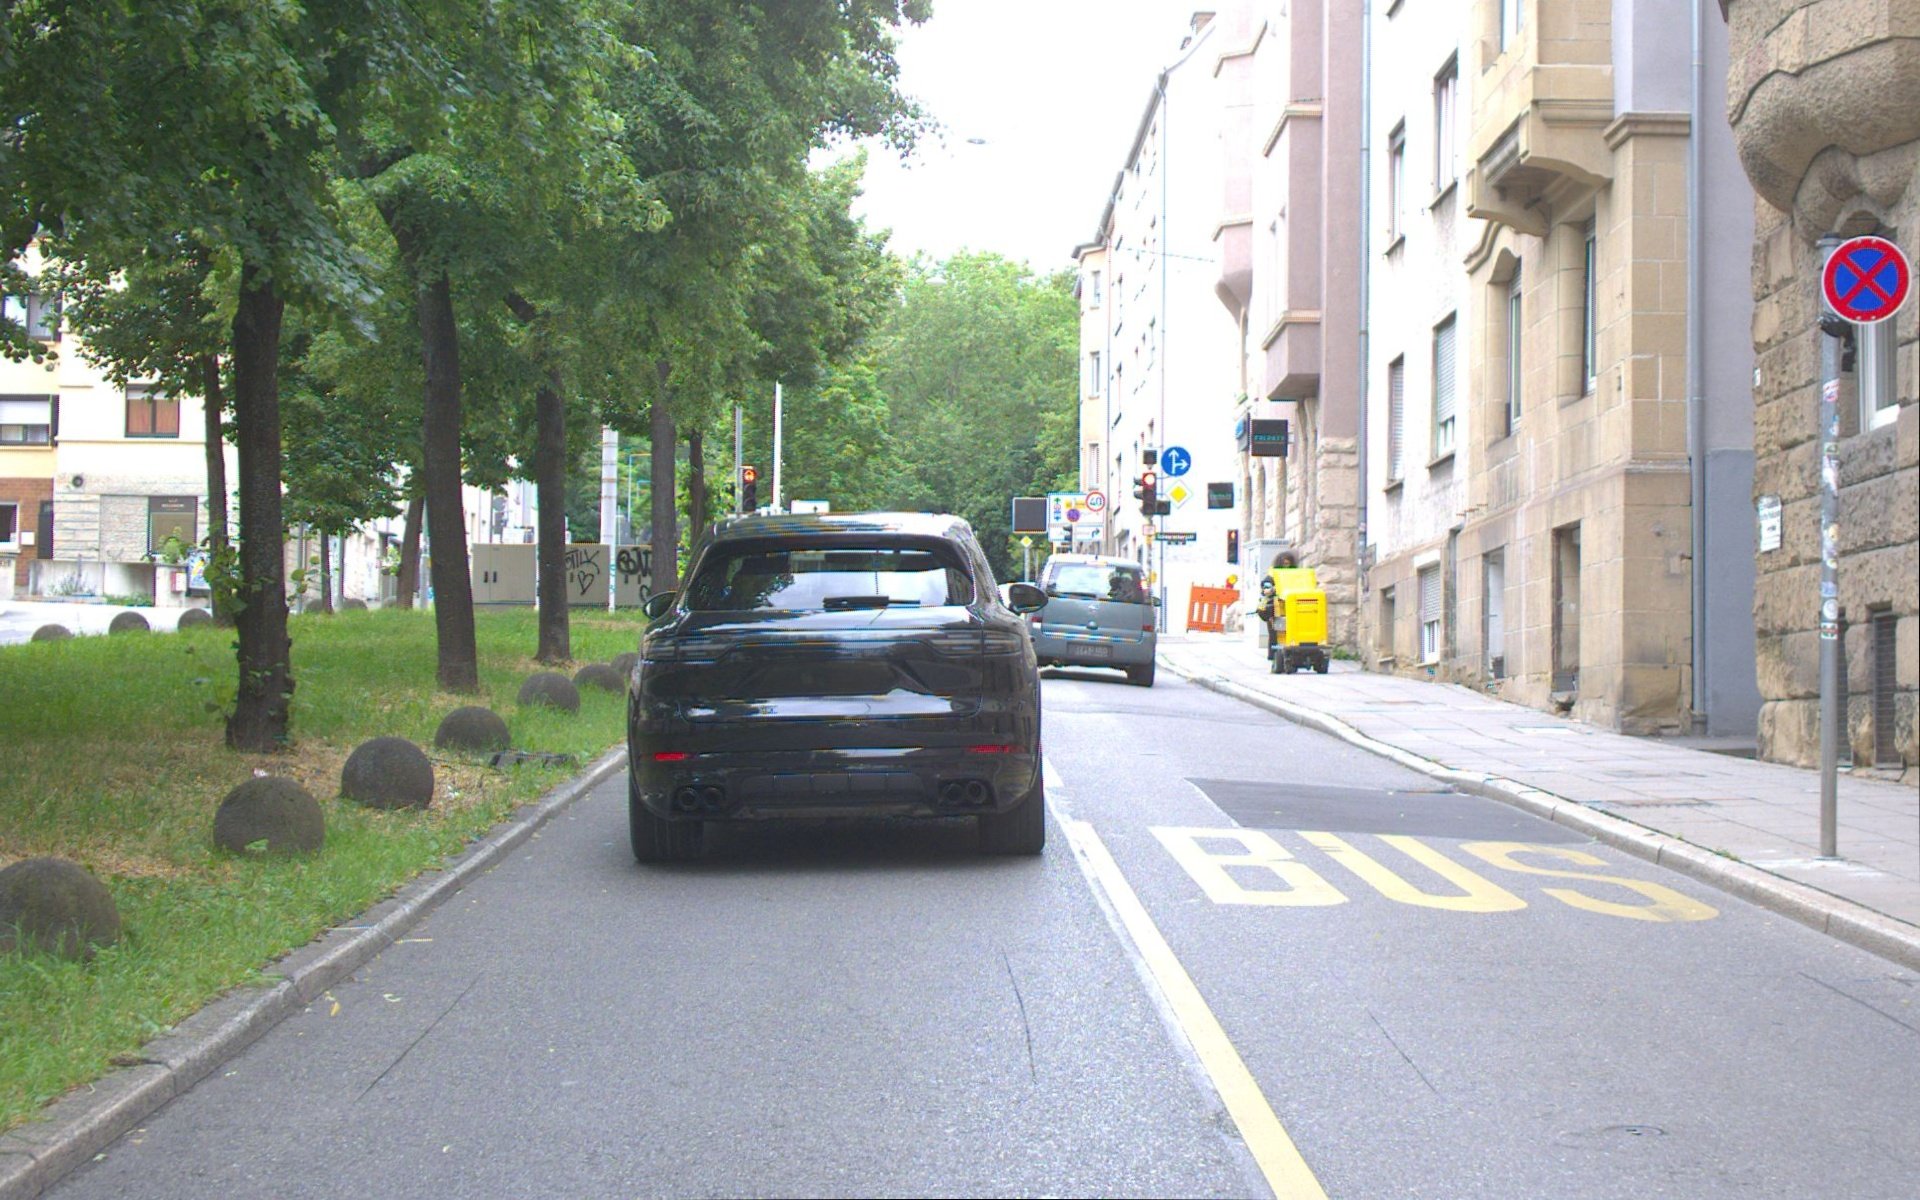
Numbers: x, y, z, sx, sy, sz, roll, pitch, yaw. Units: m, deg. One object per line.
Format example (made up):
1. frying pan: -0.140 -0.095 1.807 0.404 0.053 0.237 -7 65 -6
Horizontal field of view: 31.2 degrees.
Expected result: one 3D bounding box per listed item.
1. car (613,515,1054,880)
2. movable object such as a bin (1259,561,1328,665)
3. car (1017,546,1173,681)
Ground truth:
1. car: -0.570 0.404 17.557 1.994 1.647 4.000 0 1 0
2. movable object such as a bin: 4.599 0.184 47.467 0.719 1.416 1.693 0 -1 -3
3. car: 1.701 0.157 44.340 1.752 1.588 3.630 3 0 -1
